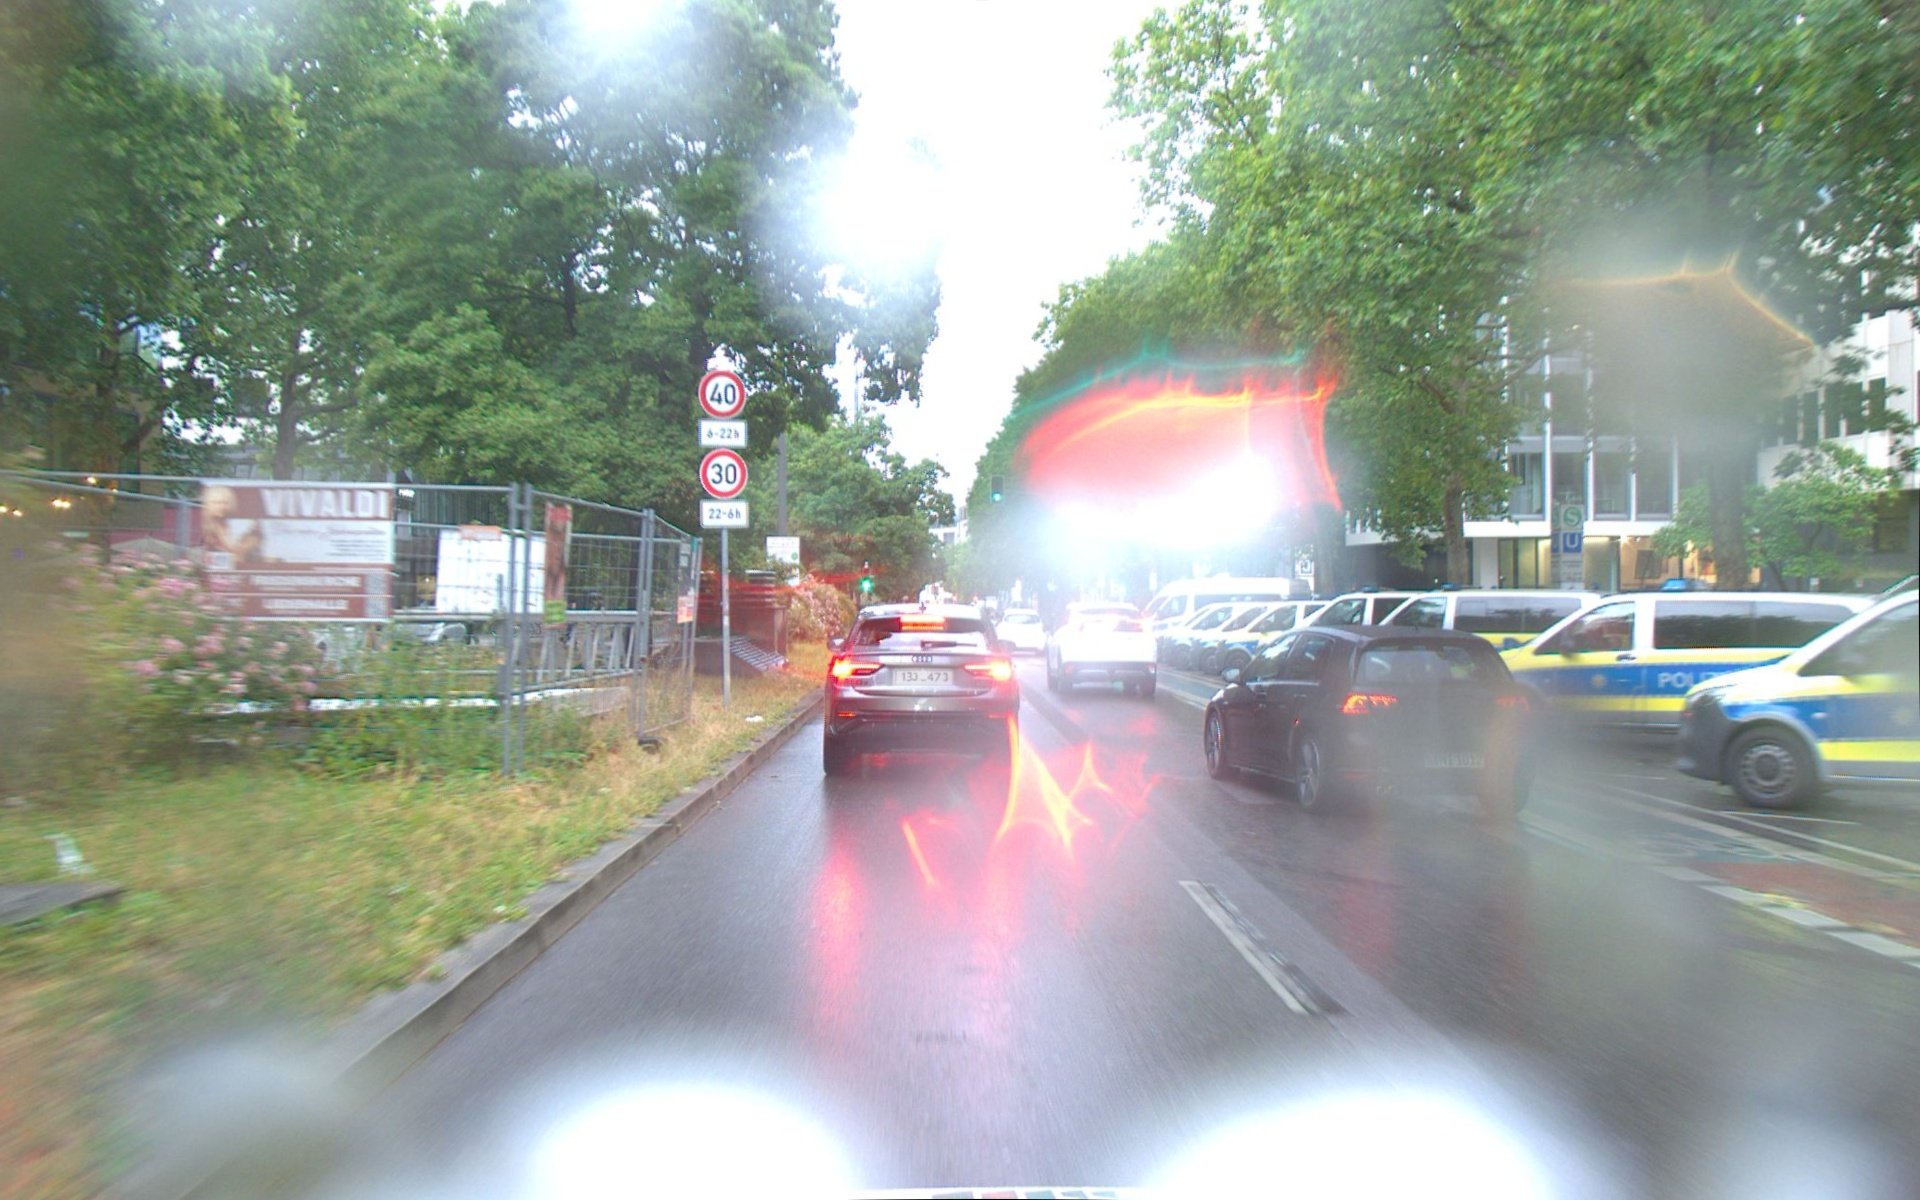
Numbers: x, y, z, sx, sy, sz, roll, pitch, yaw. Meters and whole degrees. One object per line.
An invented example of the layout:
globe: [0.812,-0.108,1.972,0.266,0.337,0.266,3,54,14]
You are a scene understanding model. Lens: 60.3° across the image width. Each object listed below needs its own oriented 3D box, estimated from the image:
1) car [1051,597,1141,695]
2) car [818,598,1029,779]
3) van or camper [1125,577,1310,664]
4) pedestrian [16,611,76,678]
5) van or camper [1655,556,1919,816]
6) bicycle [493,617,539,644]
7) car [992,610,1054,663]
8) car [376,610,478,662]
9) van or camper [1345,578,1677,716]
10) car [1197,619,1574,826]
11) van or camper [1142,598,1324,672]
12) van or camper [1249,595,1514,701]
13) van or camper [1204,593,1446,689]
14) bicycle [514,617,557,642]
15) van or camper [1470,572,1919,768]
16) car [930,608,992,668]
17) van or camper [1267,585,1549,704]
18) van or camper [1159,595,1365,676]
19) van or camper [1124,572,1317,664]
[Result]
car: [2.489,0.818,30.786,1.404,1.715,2.978,0,0,-1]
car: [-0.299,0.776,16.621,1.825,1.559,4.526,0,0,0]
van or camper: [8.398,0.653,54.303,5.701,2.724,2.138,0,-1,37]
pedestrian: [-19.348,0.933,35.032,0.748,1.404,0.932,1,-1,-4]
van or camper: [8.451,0.696,13.429,4.851,2.027,1.994,1,-1,37]
bicycle: [-18.876,1.301,70.330,1.810,1.117,0.613,0,-1,-9]
car: [2.163,1.236,57.505,1.953,1.780,3.999,0,0,-1]
car: [-16.704,1.095,52.062,1.954,1.535,4.515,0,0,-3]
van or camper: [8.812,0.702,26.640,4.757,2.033,1.861,0,-1,36]
car: [3.368,0.897,13.923,1.732,1.437,3.993,0,0,-7]
van or camper: [7.937,1.028,48.276,4.914,2.049,1.993,-1,-2,35]
van or camper: [8.618,0.944,33.959,4.917,2.030,1.995,0,-1,32]
van or camper: [8.302,0.893,37.824,5.007,2.060,2.097,0,-1,37]
bicycle: [-19.038,1.317,74.204,1.787,1.117,0.565,0,-1,-9]
van or camper: [8.909,0.740,19.812,4.986,2.054,1.989,1,-1,36]
car: [-0.003,1.037,46.666,1.687,1.605,3.960,0,0,-1]
van or camper: [8.284,0.781,30.745,4.698,2.046,1.993,0,-1,36]
van or camper: [8.101,0.922,44.543,5.101,2.027,1.994,1,-1,34]
van or camper: [8.061,0.541,51.486,5.693,2.727,1.993,0,-1,35]
